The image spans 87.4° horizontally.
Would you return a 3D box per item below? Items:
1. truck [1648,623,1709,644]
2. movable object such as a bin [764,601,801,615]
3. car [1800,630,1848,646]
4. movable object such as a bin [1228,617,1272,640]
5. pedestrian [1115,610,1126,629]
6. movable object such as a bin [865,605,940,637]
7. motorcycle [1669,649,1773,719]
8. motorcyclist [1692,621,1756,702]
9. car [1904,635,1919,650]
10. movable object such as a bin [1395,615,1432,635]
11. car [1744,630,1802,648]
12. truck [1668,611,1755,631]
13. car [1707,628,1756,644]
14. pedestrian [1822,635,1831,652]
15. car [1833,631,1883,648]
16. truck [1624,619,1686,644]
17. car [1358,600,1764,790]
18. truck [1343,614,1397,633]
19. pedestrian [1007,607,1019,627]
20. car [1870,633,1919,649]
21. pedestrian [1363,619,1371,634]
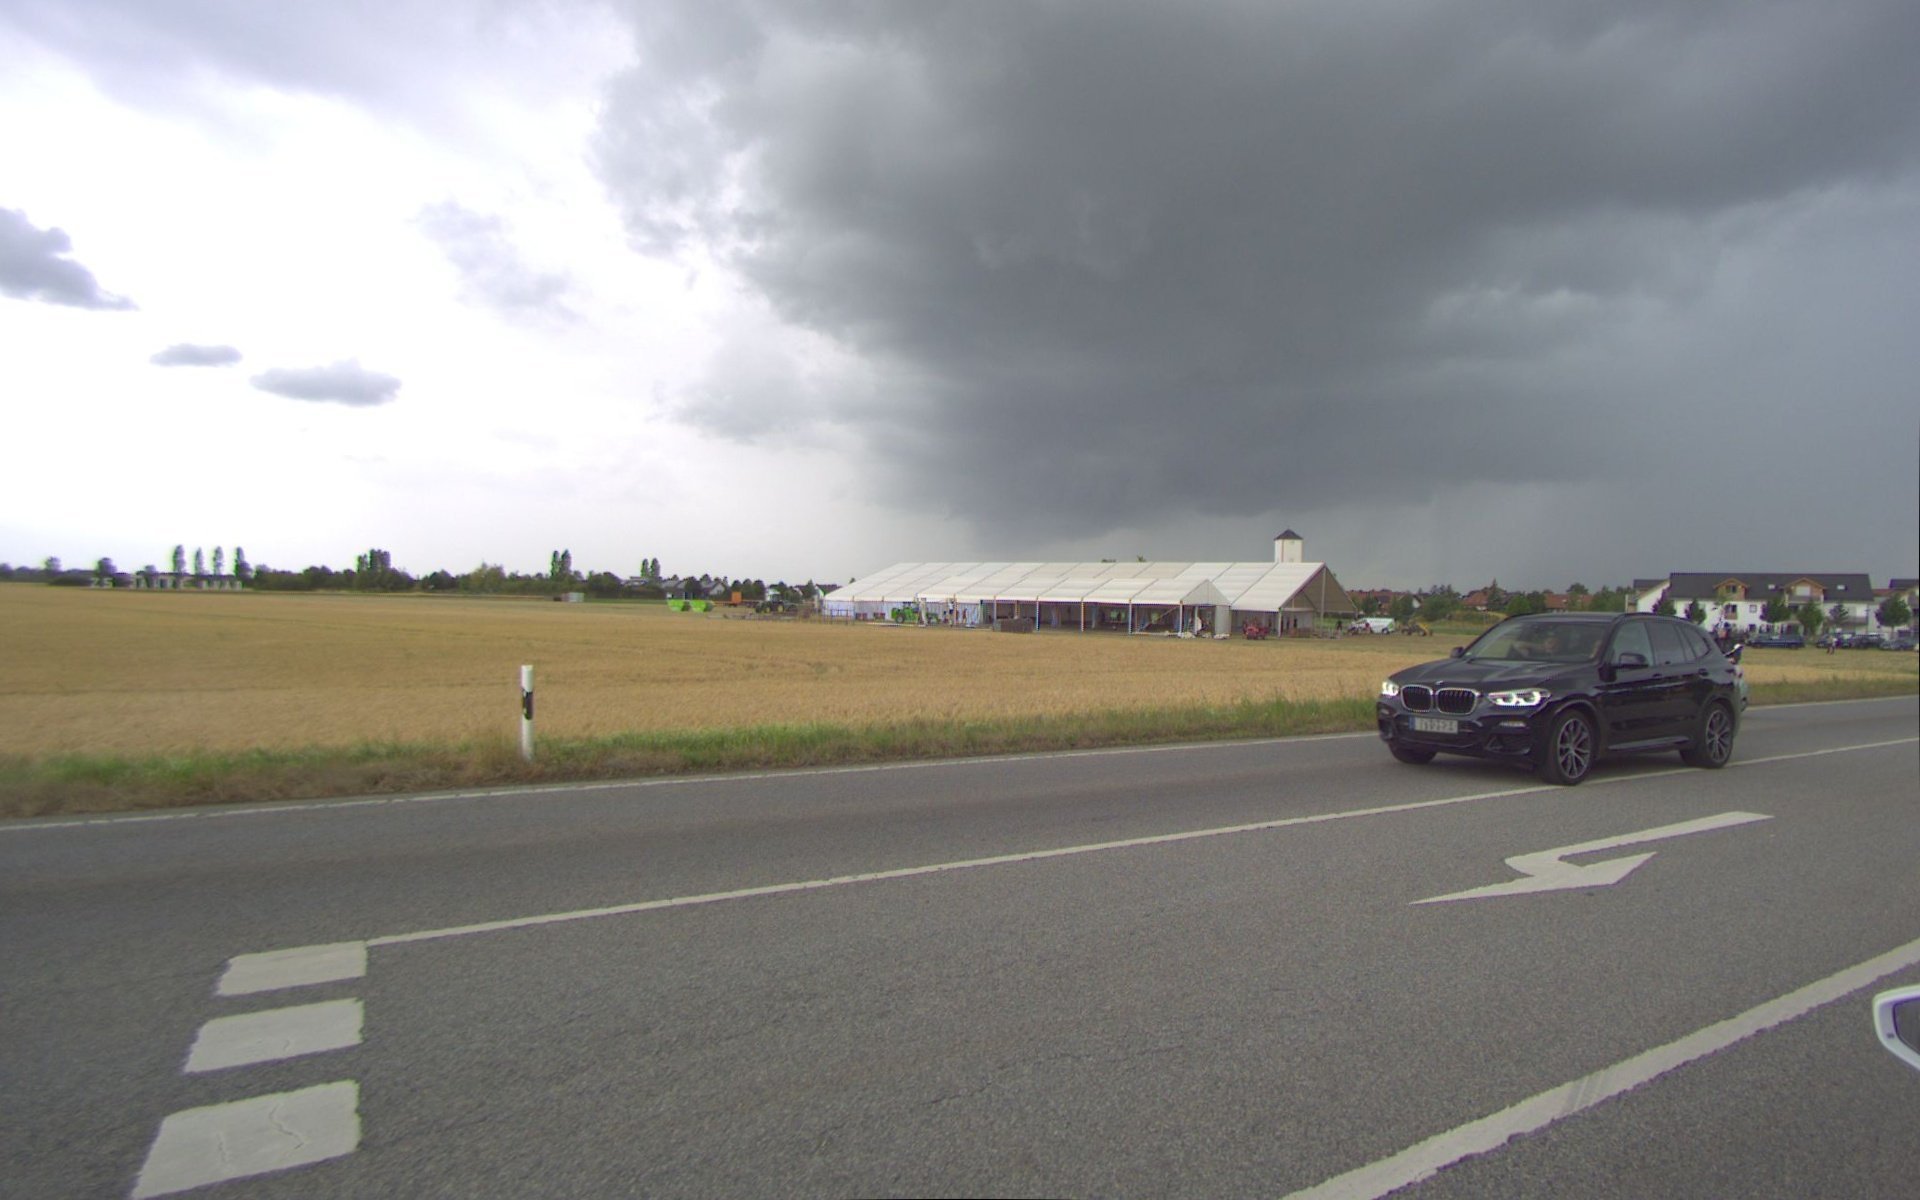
[{"bbox_3d":[80.921,3.767,113.264,5.490,2.226,2.599,1,-1,35],"label":"truck"},{"bbox_3d":[-27.575,1.316,156.266,2.526,2.040,5.392,1,-1,38],"label":"movable object such as a bin"},{"bbox_3d":[94.263,4.135,109.641,4.141,1.650,1.994,1,-1,-15],"label":"car"},{"bbox_3d":[26.007,2.533,89.929,2.553,1.889,4.461,1,-1,34],"label":"movable object such as a bin"},{"bbox_3d":[18.979,2.318,118.942,0.931,2.130,0.859,2,-1,-35],"label":"pedestrian"},{"bbox_3d":[-6.496,2.304,112.585,7.460,3.219,4.143,2,0,37],"label":"movable object such as a bin"},{"bbox_3d":[13.492,1.457,17.795,1.999,1.164,0.723,1,-1,-29],"label":"motorcycle"},{"bbox_3d":[13.573,1.081,17.843,0.799,1.402,0.637,1,-1,-29],"label":"motorcyclist"},{"bbox_3d":[96.686,4.236,100.012,4.141,1.465,1.994,1,-1,-15],"label":"car"},{"bbox_3d":[53.981,2.943,119.590,3.926,2.272,1.882,1,-1,30],"label":"movable object such as a bin"},{"bbox_3d":[85.192,4.072,105.330,4.655,1.719,1.992,1,-1,37],"label":"car"},{"bbox_3d":[106.079,2.997,141.974,3.267,2.563,9.284,2,-1,-35],"label":"truck"},{"bbox_3d":[90.791,4.270,118.304,4.567,1.719,1.992,1,-1,37],"label":"car"},{"bbox_3d":[79.438,3.976,92.082,0.582,1.576,0.623,1,-1,38],"label":"pedestrian"},{"bbox_3d":[94.259,4.134,105.477,4.141,1.650,1.994,1,-1,-15],"label":"car"},{"bbox_3d":[75.011,3.363,108.477,5.374,2.478,2.387,1,-1,35],"label":"truck"},{"bbox_3d":[6.639,0.924,11.012,4.394,1.716,1.938,2,-1,-30],"label":"car"},{"bbox_3d":[51.234,2.900,125.454,5.956,2.246,2.715,1,-1,30],"label":"truck"},{"bbox_3d":[5.360,1.715,102.054,1.006,2.040,0.806,1,0,-8],"label":"pedestrian"},{"bbox_3d":[95.560,4.178,102.566,4.141,1.556,1.994,1,-1,-15],"label":"car"},{"bbox_3d":[48.166,3.113,118.762,0.680,1.799,0.691,1,-1,41],"label":"pedestrian"}]
